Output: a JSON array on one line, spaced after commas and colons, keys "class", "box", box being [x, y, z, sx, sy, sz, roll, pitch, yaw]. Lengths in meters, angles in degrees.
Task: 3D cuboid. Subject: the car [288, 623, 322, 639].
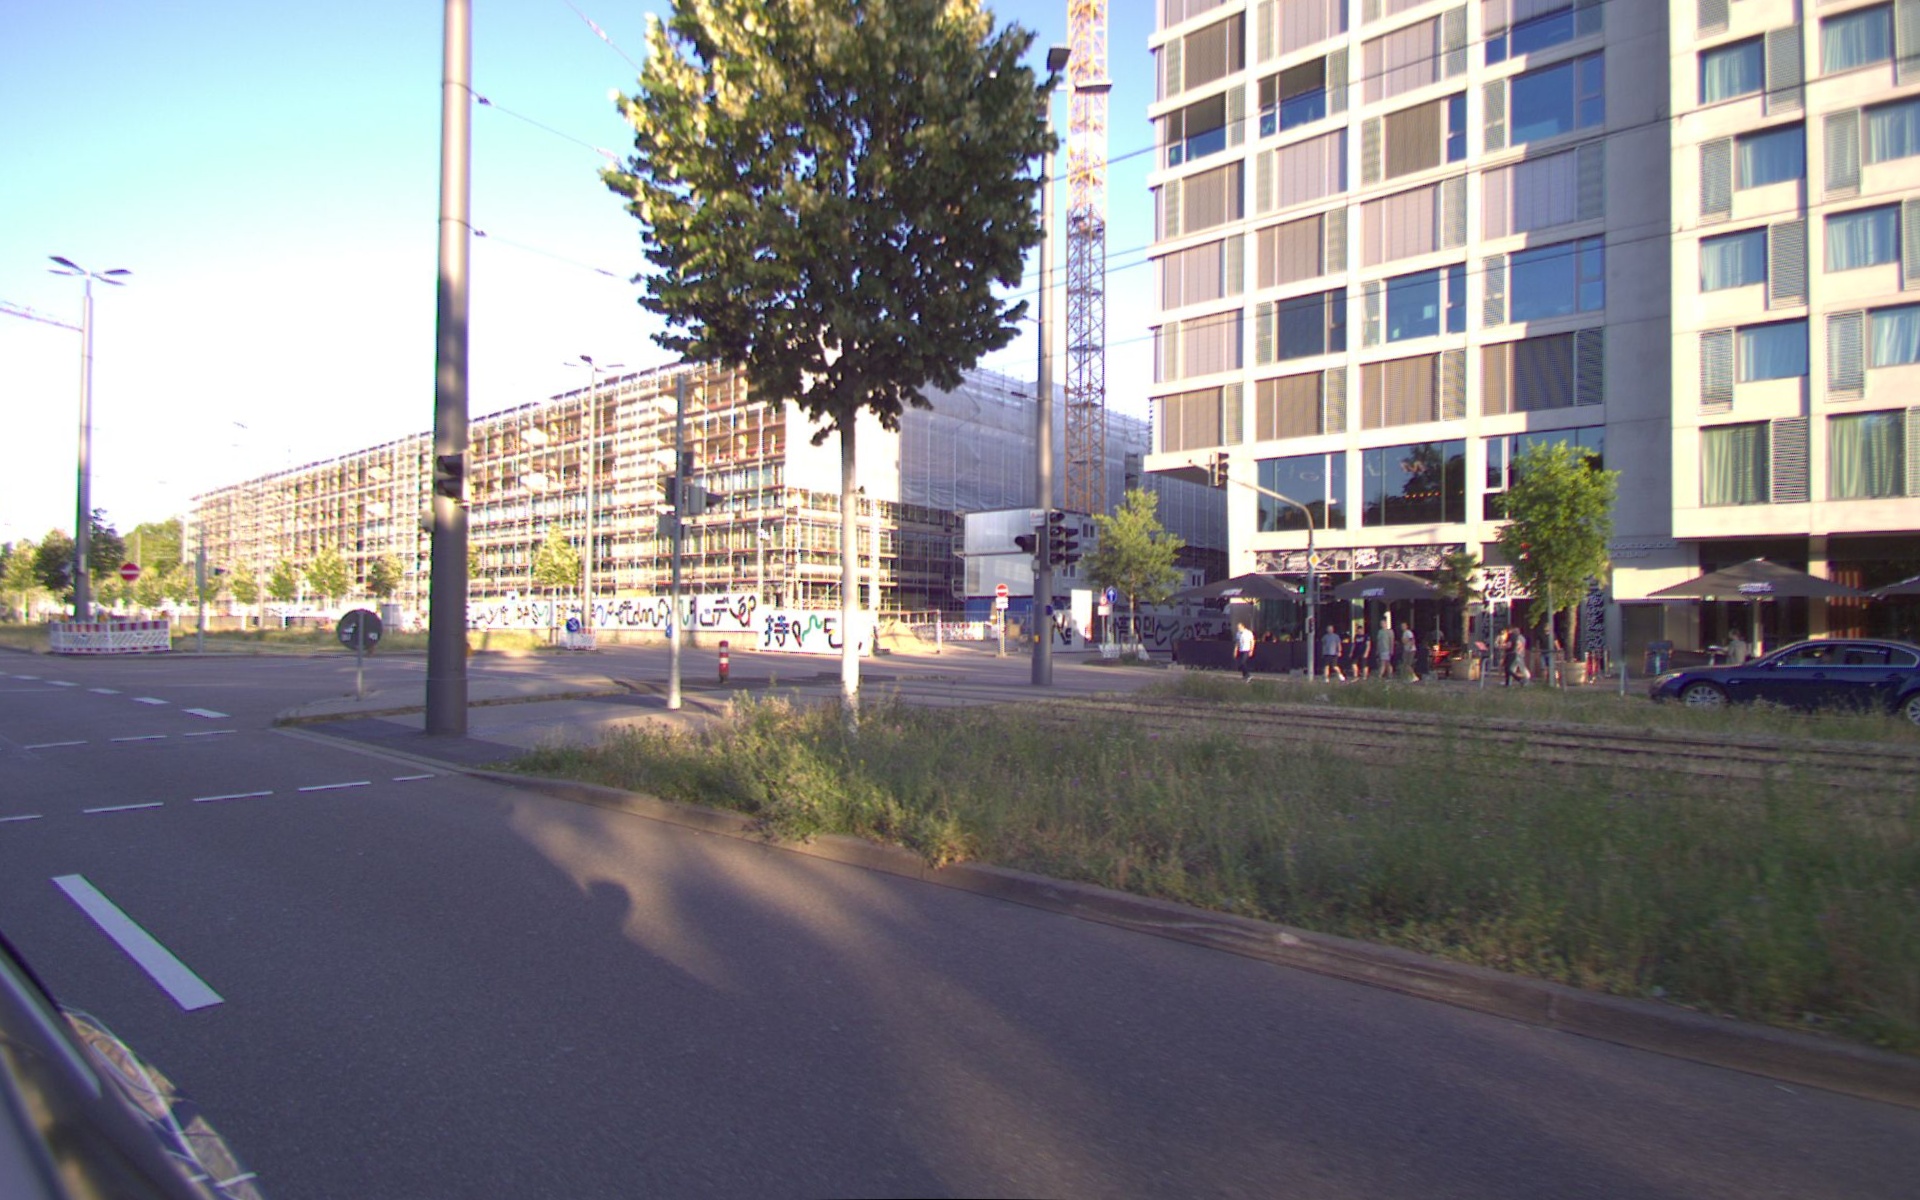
[{"class": "car", "box": [-64.201, 3.022, 99.241, 4.066, 1.466, 1.646, -1, -4, 40]}]

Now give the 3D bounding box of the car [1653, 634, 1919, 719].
[{"class": "car", "box": [16.205, 1.422, 19.812, 4.219, 1.451, 1.867, -1, -2, 39]}]

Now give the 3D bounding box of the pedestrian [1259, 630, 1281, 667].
[{"class": "pedestrian", "box": [12.130, 1.897, 39.630, 0.768, 1.425, 0.601, 0, -2, 24]}]

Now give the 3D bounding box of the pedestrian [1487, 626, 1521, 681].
[{"class": "pedestrian", "box": [16.509, 1.603, 30.733, 0.670, 1.616, 0.709, -1, 0, -43]}]

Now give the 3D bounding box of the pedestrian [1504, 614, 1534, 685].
[{"class": "pedestrian", "box": [15.983, 1.411, 28.960, 0.494, 2.029, 0.552, 1, -2, -8]}]

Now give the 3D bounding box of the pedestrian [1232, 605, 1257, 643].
[{"class": "pedestrian", "box": [11.312, 0.958, 40.235, 0.772, 1.473, 0.598, -1, -2, 40]}]

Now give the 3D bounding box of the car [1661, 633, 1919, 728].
[{"class": "car", "box": [14.797, 1.323, 16.974, 4.799, 1.452, 1.994, -1, -4, 41]}]

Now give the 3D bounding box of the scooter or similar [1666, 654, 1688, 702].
[{"class": "scooter or similar", "box": [17.818, 1.919, 25.149, 0.338, 1.093, 0.962, 3, 3, 40]}]

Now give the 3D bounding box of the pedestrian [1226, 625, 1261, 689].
[{"class": "pedestrian", "box": [8.432, 1.677, 30.109, 0.762, 1.850, 0.699, -1, 0, 39]}]

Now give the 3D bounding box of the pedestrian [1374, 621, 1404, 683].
[{"class": "pedestrian", "box": [13.099, 1.574, 30.910, 0.680, 1.850, 0.699, 0, 1, 39]}]

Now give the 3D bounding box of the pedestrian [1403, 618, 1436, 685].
[{"class": "pedestrian", "box": [13.656, 1.522, 30.106, 0.708, 1.938, 0.671, -1, 0, 41]}]

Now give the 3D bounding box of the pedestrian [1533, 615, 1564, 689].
[{"class": "pedestrian", "box": [16.409, 1.453, 28.219, 0.494, 2.029, 0.552, 1, -2, -8]}]
